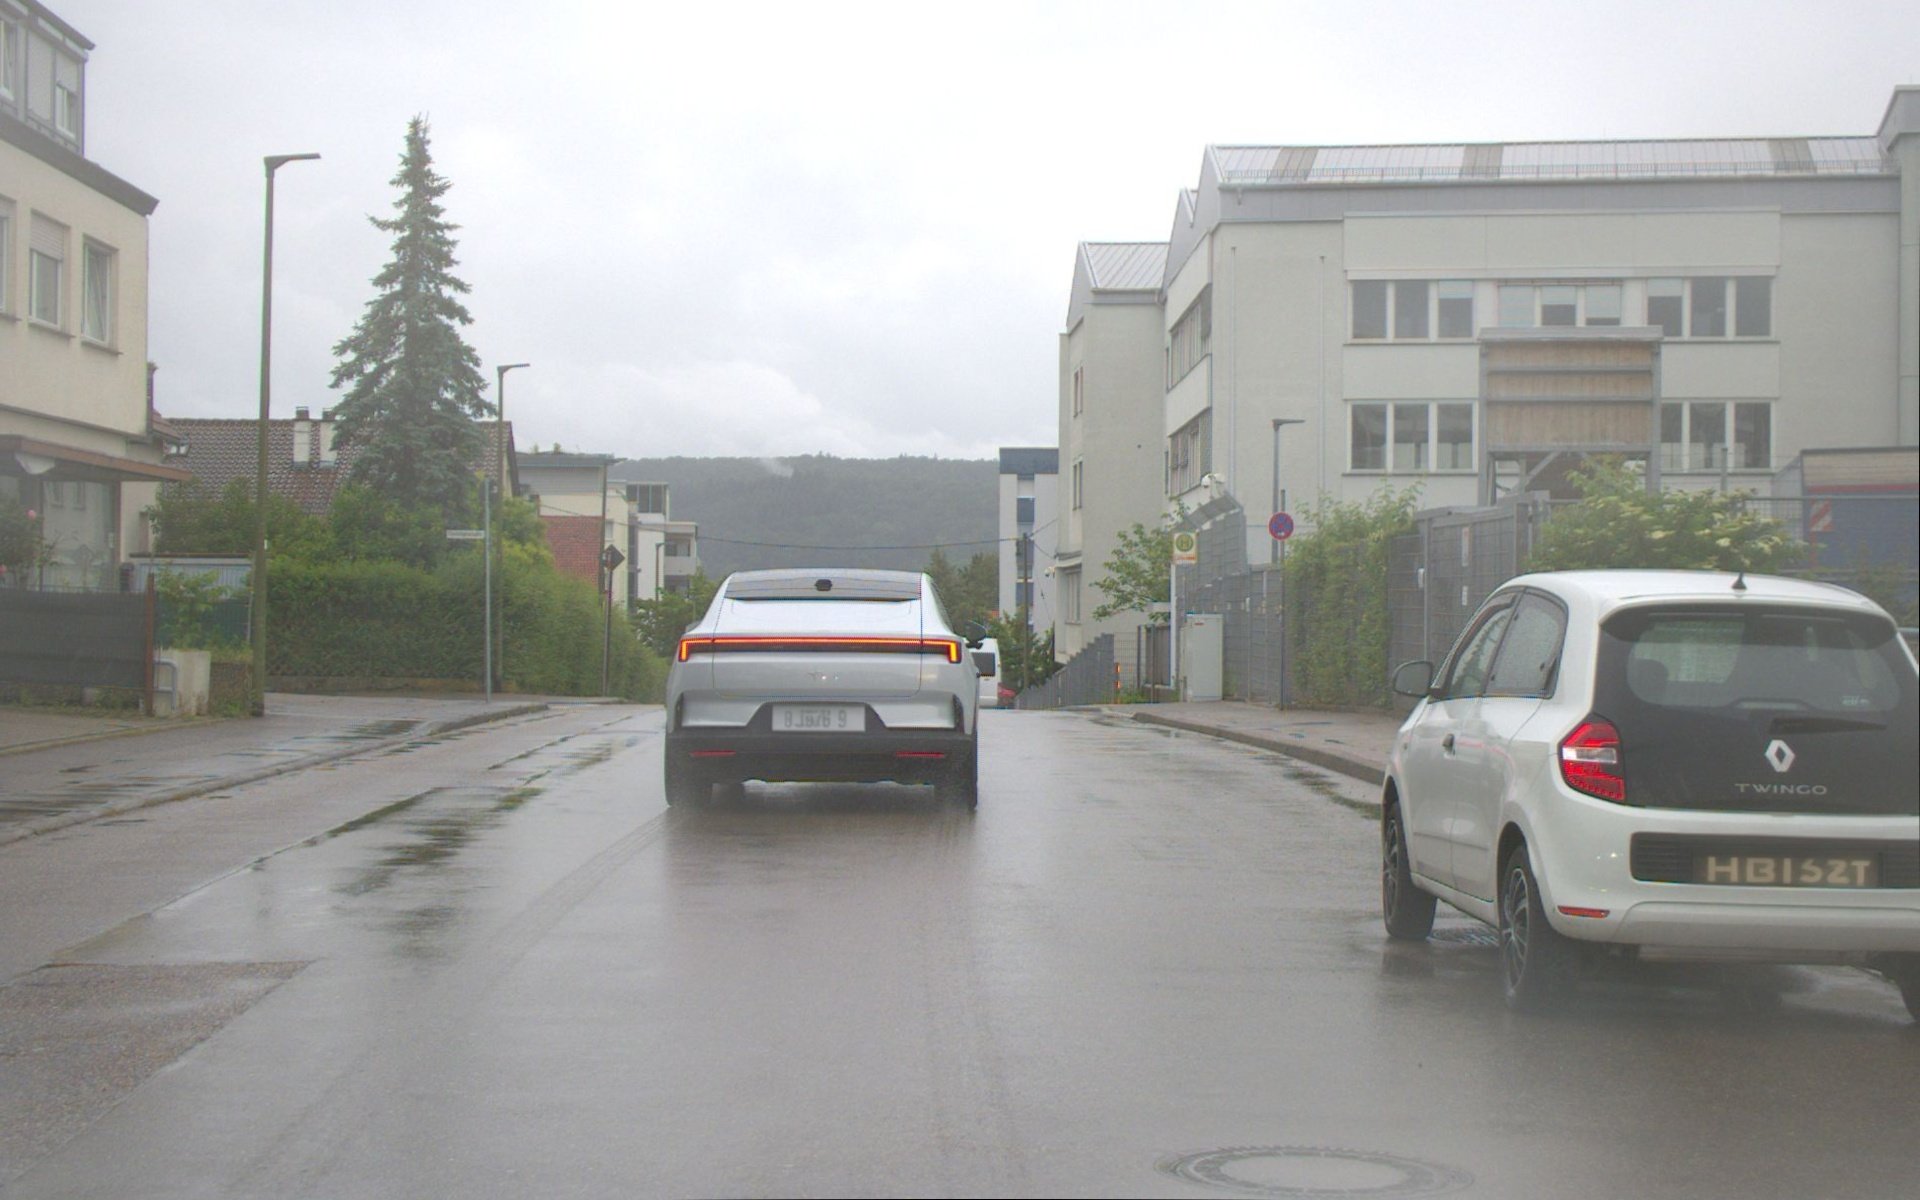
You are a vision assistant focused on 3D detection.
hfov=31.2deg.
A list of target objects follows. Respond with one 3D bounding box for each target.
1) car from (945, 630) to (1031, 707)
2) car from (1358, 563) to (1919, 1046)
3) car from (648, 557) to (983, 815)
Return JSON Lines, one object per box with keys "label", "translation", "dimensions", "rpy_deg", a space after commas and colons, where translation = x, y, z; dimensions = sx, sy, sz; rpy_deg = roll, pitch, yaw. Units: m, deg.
{"label": "car", "translation": [0.754, 1.906, 94.395], "dimensions": [1.993, 2.007, 4.000], "rpy_deg": [0, -3, -5]}
{"label": "car", "translation": [2.661, 0.664, 13.206], "dimensions": [1.681, 1.552, 3.675], "rpy_deg": [2, 1, -2]}
{"label": "car", "translation": [-0.951, 0.489, 23.004], "dimensions": [1.993, 1.497, 4.670], "rpy_deg": [1, 1, -2]}
